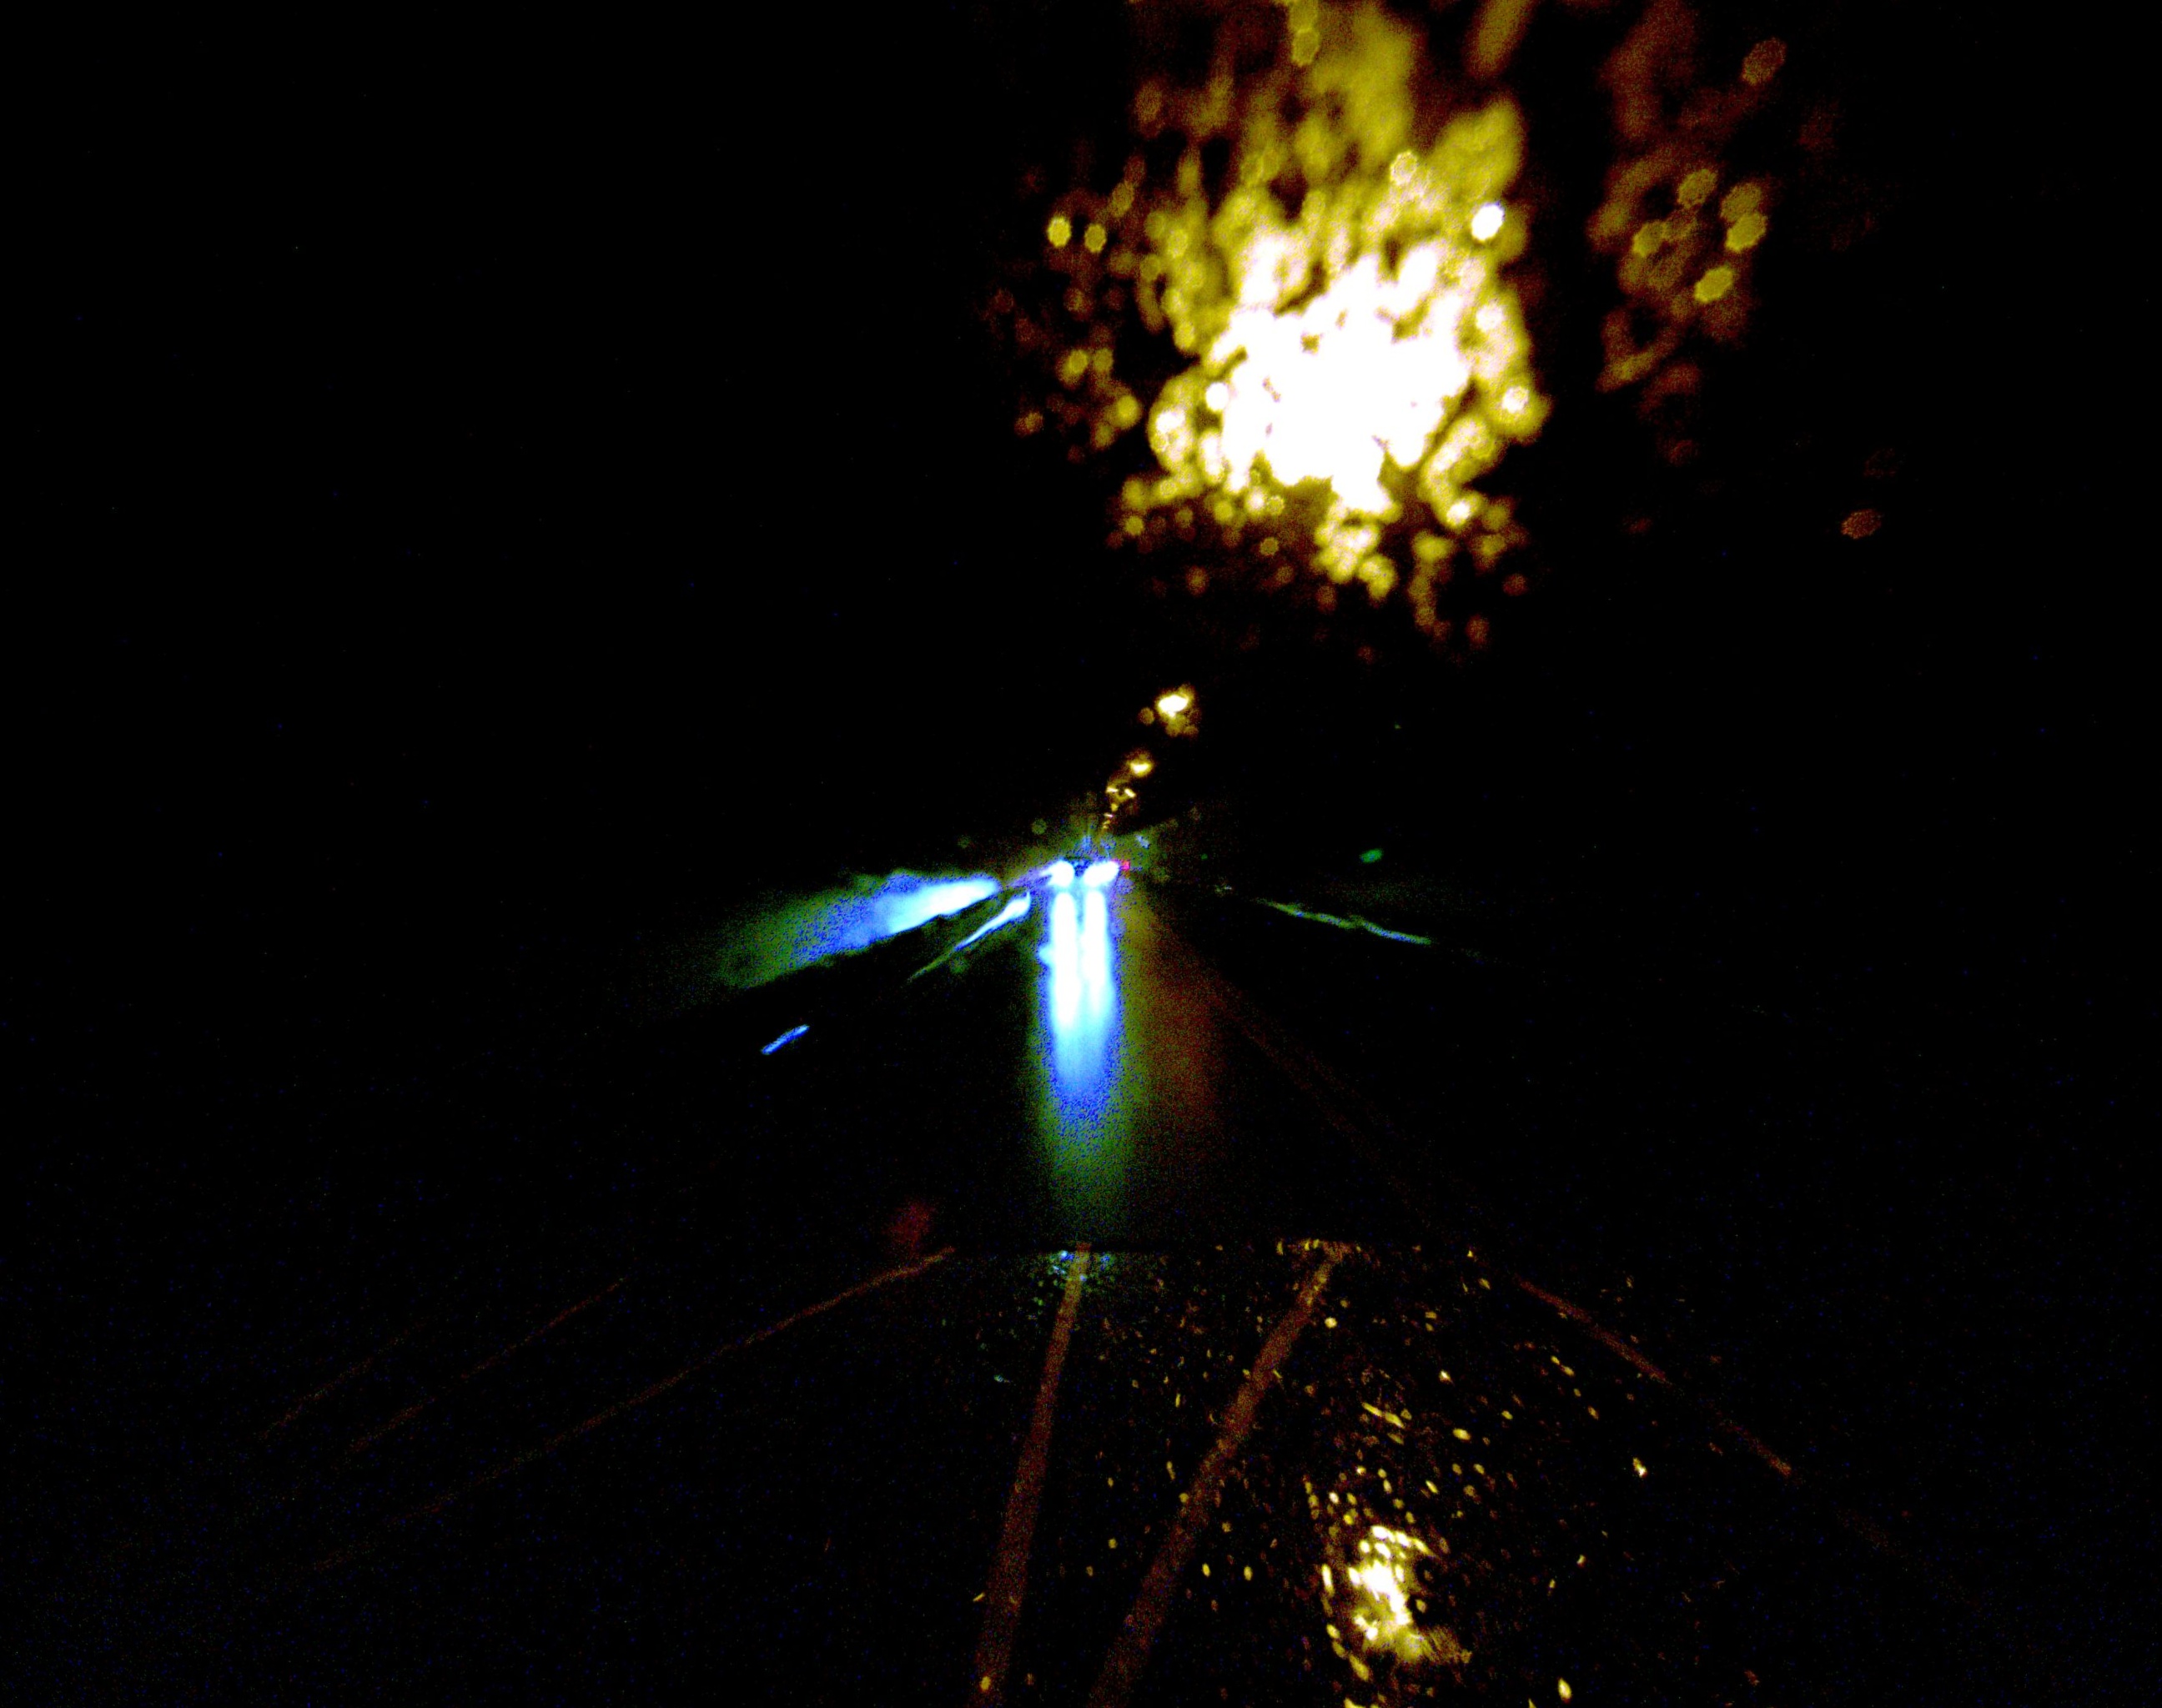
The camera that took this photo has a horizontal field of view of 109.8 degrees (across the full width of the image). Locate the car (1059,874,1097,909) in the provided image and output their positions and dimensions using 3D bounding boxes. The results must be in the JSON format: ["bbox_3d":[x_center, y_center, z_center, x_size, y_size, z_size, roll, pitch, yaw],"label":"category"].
[{"bbox_3d":[-0.120,1.720,35.912,1.627,1.487,3.586,-1,-1,2],"label":"car"}]

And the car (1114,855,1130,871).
[{"bbox_3d":[4.411,0.979,81.798,1.639,1.593,4.146,-1,-1,2],"label":"car"}]
